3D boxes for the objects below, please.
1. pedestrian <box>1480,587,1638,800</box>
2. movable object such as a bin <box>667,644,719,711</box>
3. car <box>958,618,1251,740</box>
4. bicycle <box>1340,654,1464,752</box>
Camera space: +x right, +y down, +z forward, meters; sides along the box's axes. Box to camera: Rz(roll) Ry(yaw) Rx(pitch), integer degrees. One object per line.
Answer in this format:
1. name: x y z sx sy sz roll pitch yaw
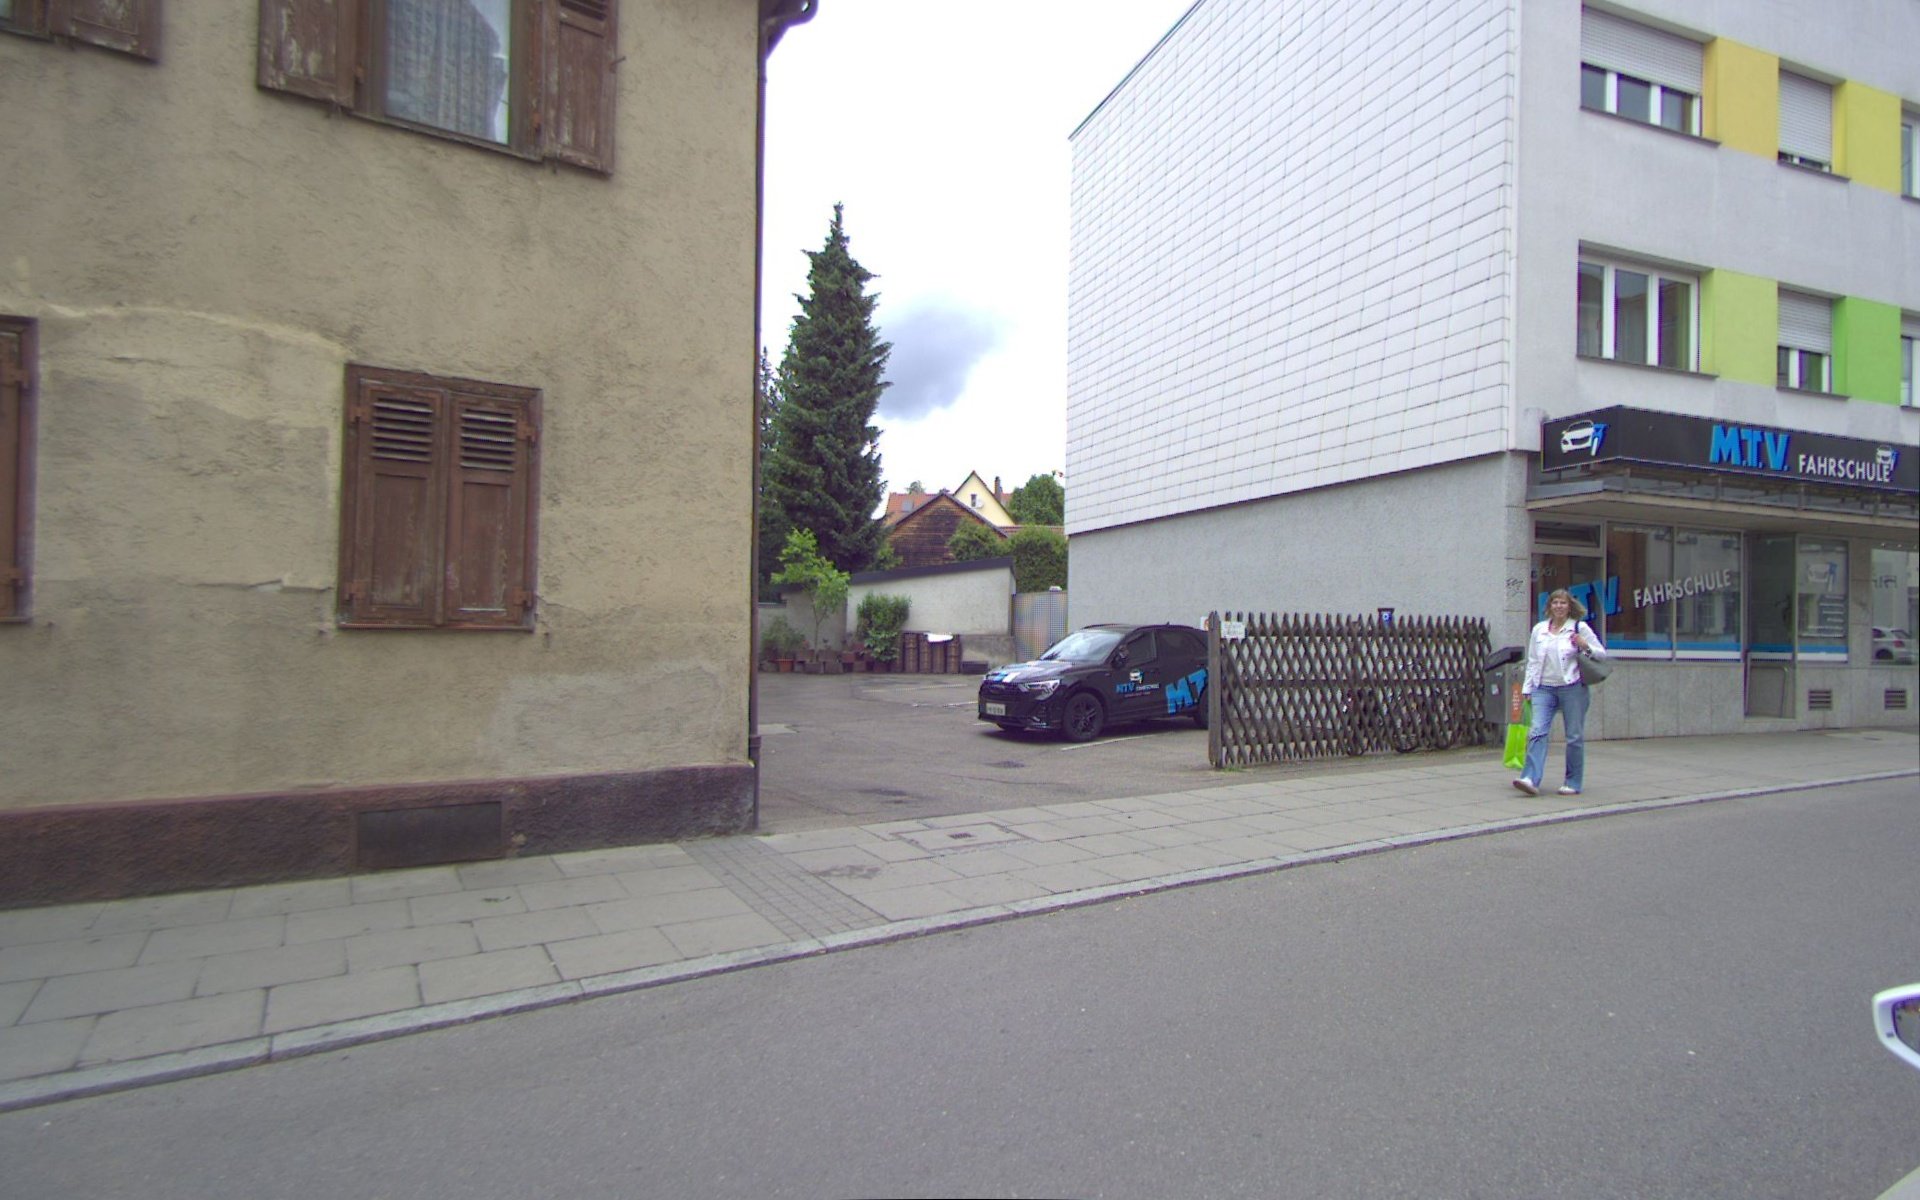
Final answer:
1. pedestrian: 5.092 0.754 8.561 0.853 1.687 0.887 1 -1 -34
2. movable object such as a bin: -4.341 1.252 16.389 0.628 1.040 0.970 0 -1 -4
3. car: 2.252 1.089 15.163 4.248 1.584 1.979 1 -2 -37
4. bicycle: 5.172 1.170 11.721 1.726 1.067 0.321 1 -1 -27
